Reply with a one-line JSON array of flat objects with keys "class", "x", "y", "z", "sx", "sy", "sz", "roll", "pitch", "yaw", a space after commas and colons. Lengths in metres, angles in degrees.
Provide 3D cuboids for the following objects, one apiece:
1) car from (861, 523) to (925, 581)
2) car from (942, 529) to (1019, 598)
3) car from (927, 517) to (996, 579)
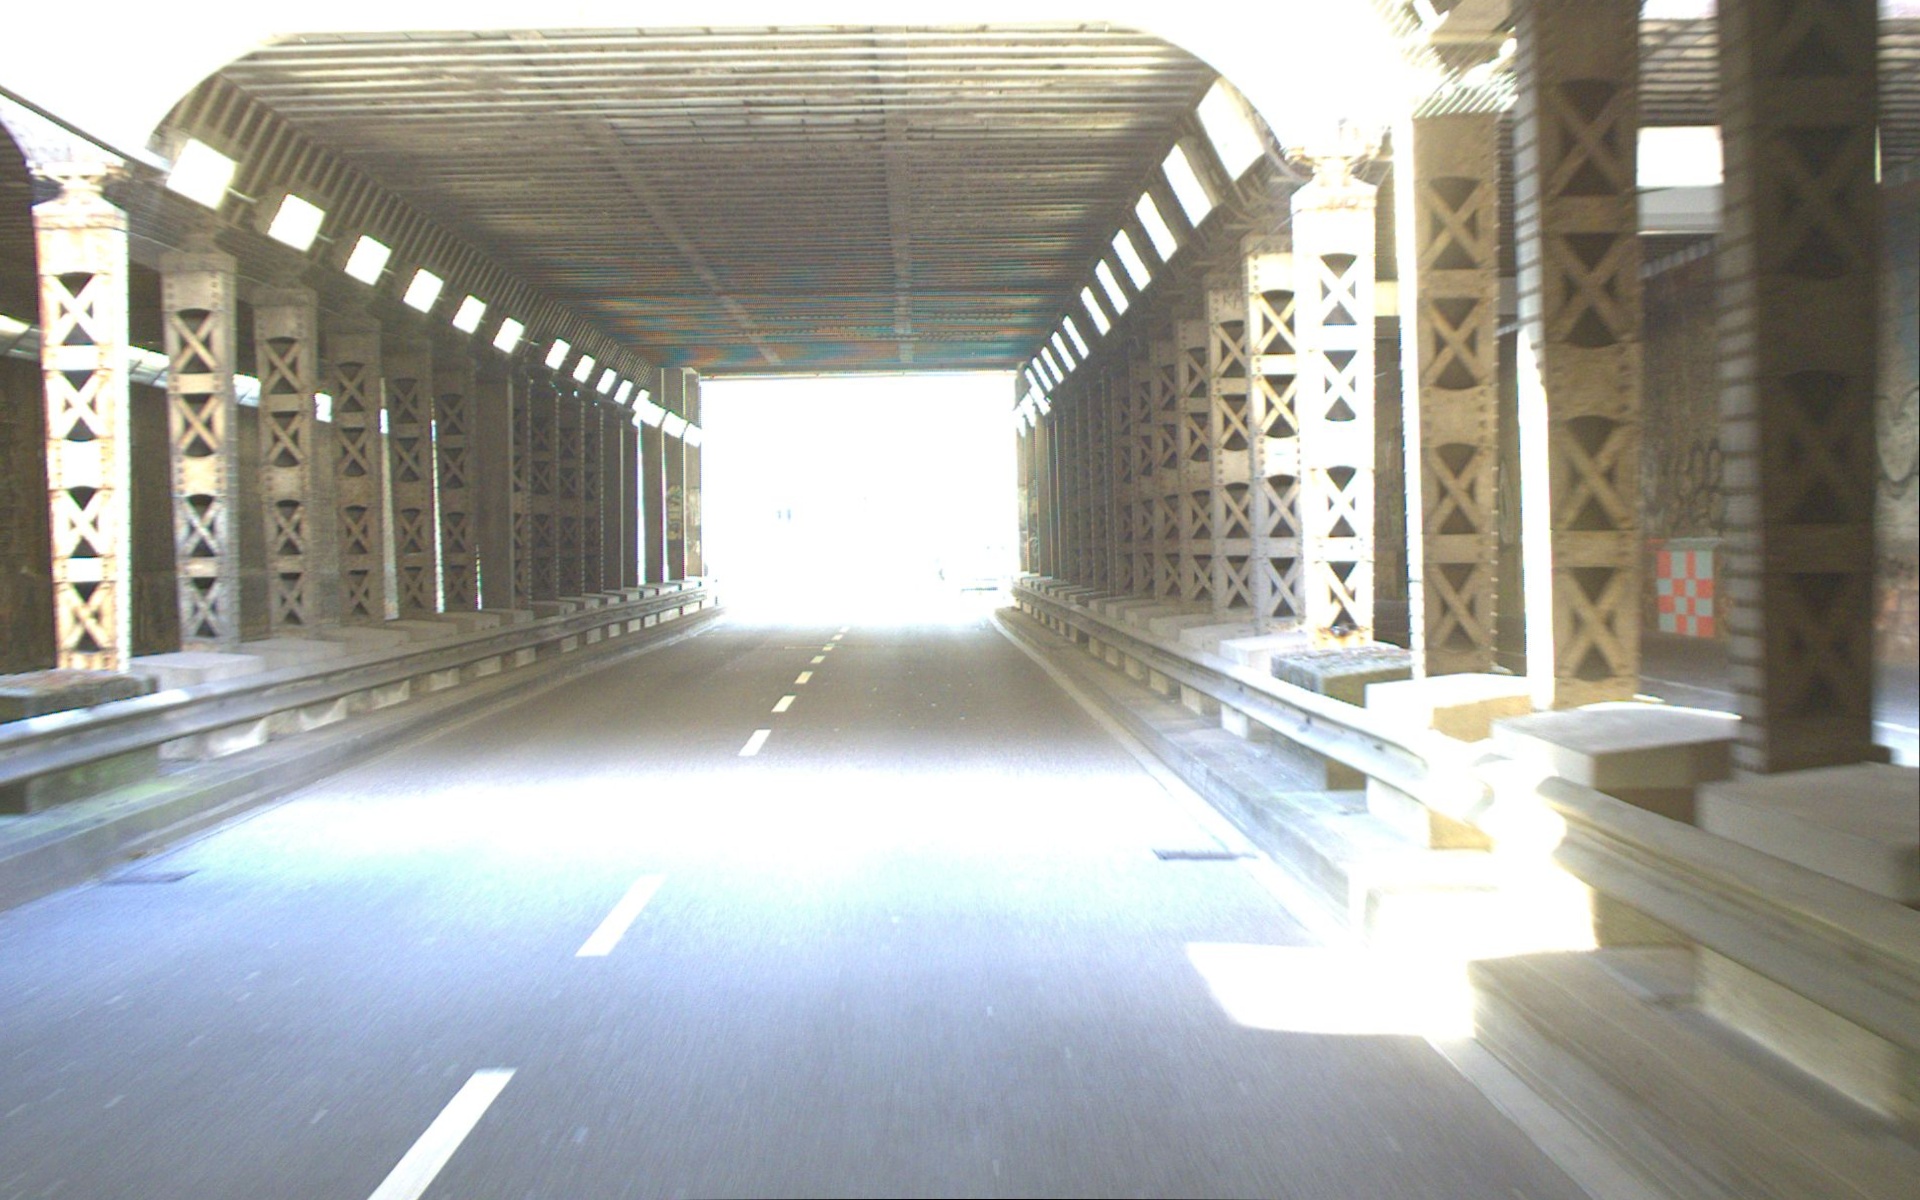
[{"class": "car", "x": -2.154, "y": -1.566, "z": 111.155, "sx": 1.993, "sy": 1.778, "sz": 4.000, "roll": -1, "pitch": 1, "yaw": -1}, {"class": "car", "x": 0.530, "y": -1.011, "z": 93.303, "sx": 1.993, "sy": 1.778, "sz": 4.000, "roll": -1, "pitch": 1, "yaw": -1}, {"class": "car", "x": 0.028, "y": -1.581, "z": 103.632, "sx": 1.993, "sy": 1.778, "sz": 4.000, "roll": -1, "pitch": 1, "yaw": -1}]
